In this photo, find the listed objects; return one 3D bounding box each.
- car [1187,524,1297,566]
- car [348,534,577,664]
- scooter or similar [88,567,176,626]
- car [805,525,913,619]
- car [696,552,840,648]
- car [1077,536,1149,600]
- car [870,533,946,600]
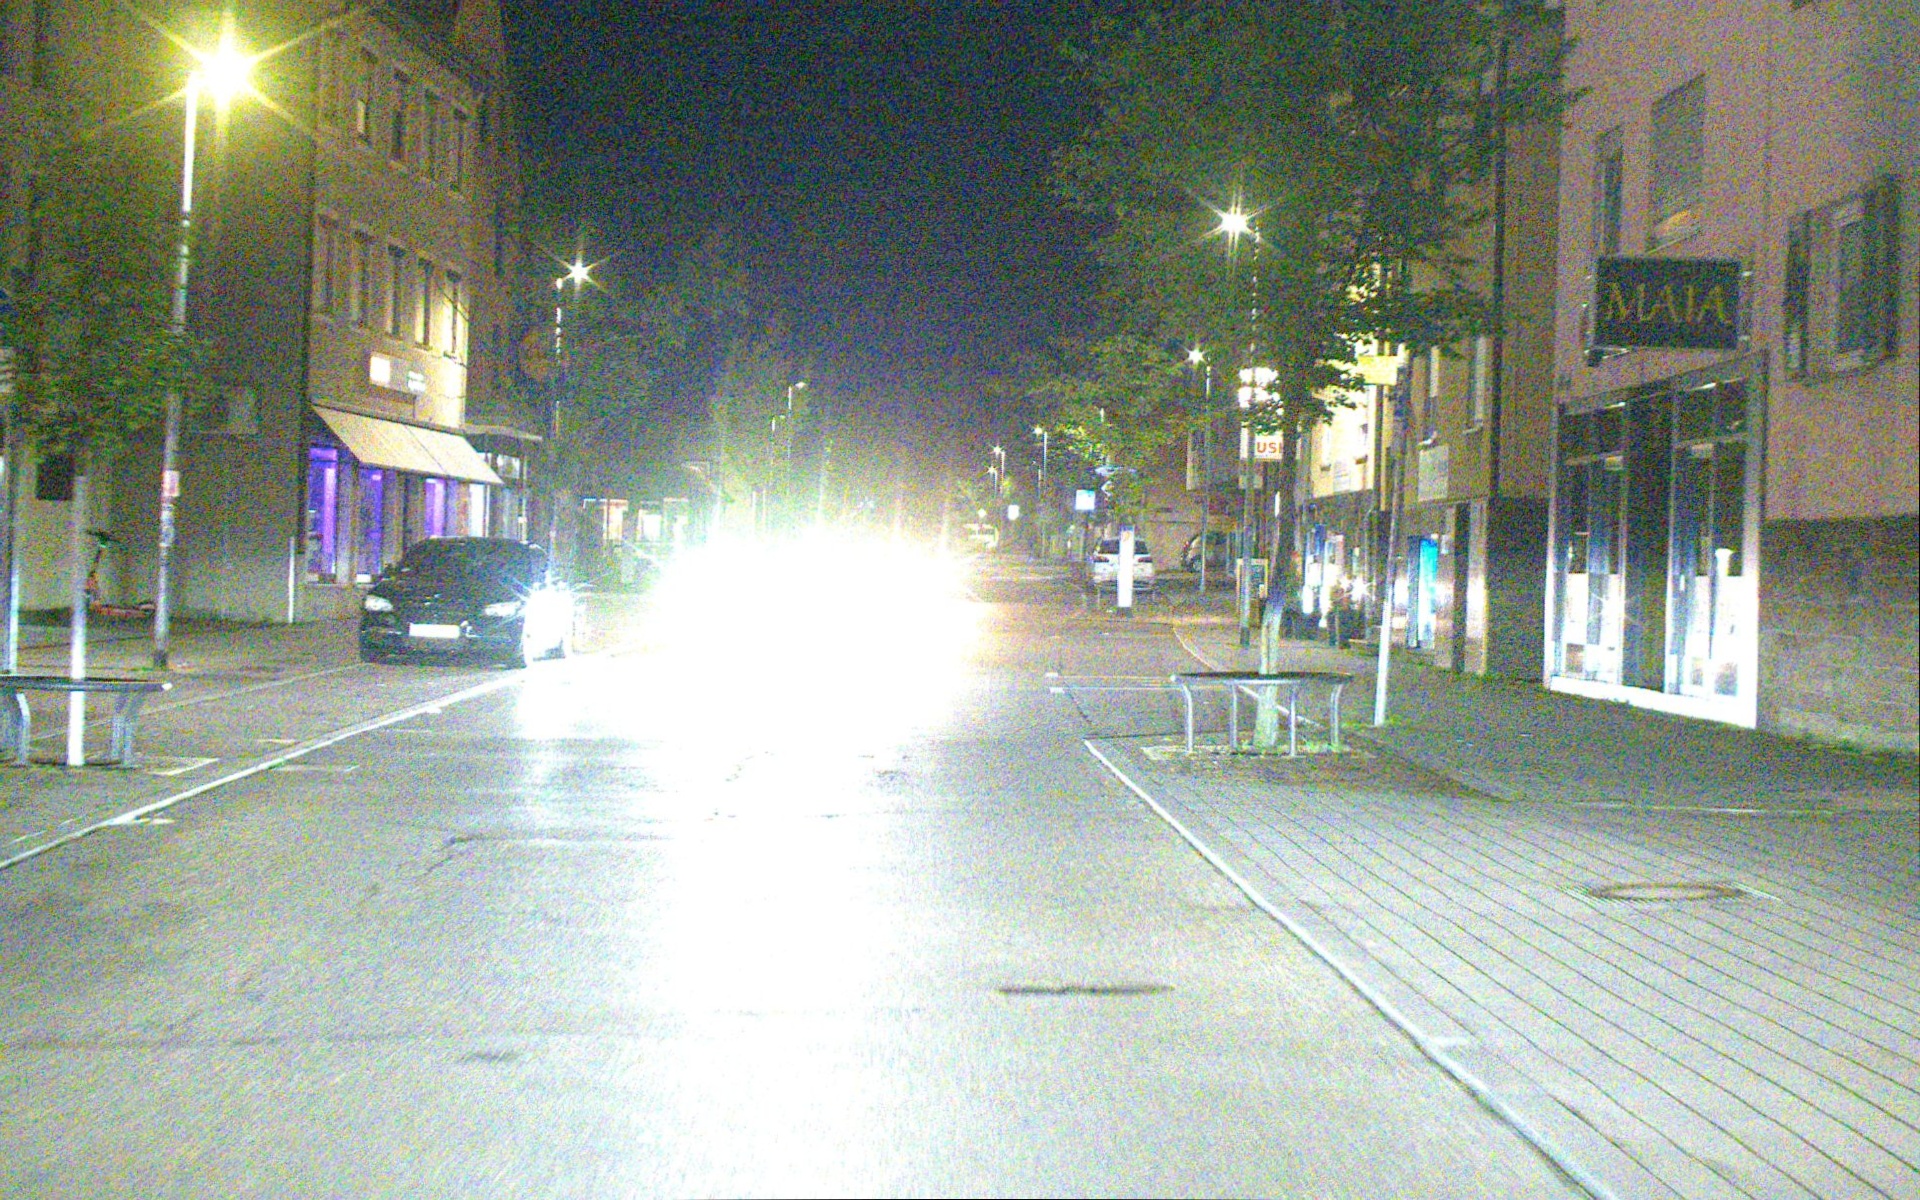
[{"bbox_3d":[10.379,-2.016,126.524,3.988,1.412,1.999,1,-1,5],"label":"car"},{"bbox_3d":[-5.674,-0.055,39.730,1.914,1.366,4.457,1,1,1],"label":"car"},{"bbox_3d":[-11.466,-0.052,47.621,1.095,0.778,0.525,1,1,-3],"label":"scooter or similar"},{"bbox_3d":[-1.841,-0.538,63.685,1.775,1.647,4.364,1,1,1],"label":"car"},{"bbox_3d":[-2.635,-0.025,48.000,1.723,1.242,4.237,1,1,0],"label":"car"},{"bbox_3d":[4.127,-0.884,93.374,1.775,1.647,4.364,1,1,1],"label":"car"},{"bbox_3d":[-1.312,-0.874,87.653,1.775,1.647,4.364,1,1,1],"label":"car"}]
